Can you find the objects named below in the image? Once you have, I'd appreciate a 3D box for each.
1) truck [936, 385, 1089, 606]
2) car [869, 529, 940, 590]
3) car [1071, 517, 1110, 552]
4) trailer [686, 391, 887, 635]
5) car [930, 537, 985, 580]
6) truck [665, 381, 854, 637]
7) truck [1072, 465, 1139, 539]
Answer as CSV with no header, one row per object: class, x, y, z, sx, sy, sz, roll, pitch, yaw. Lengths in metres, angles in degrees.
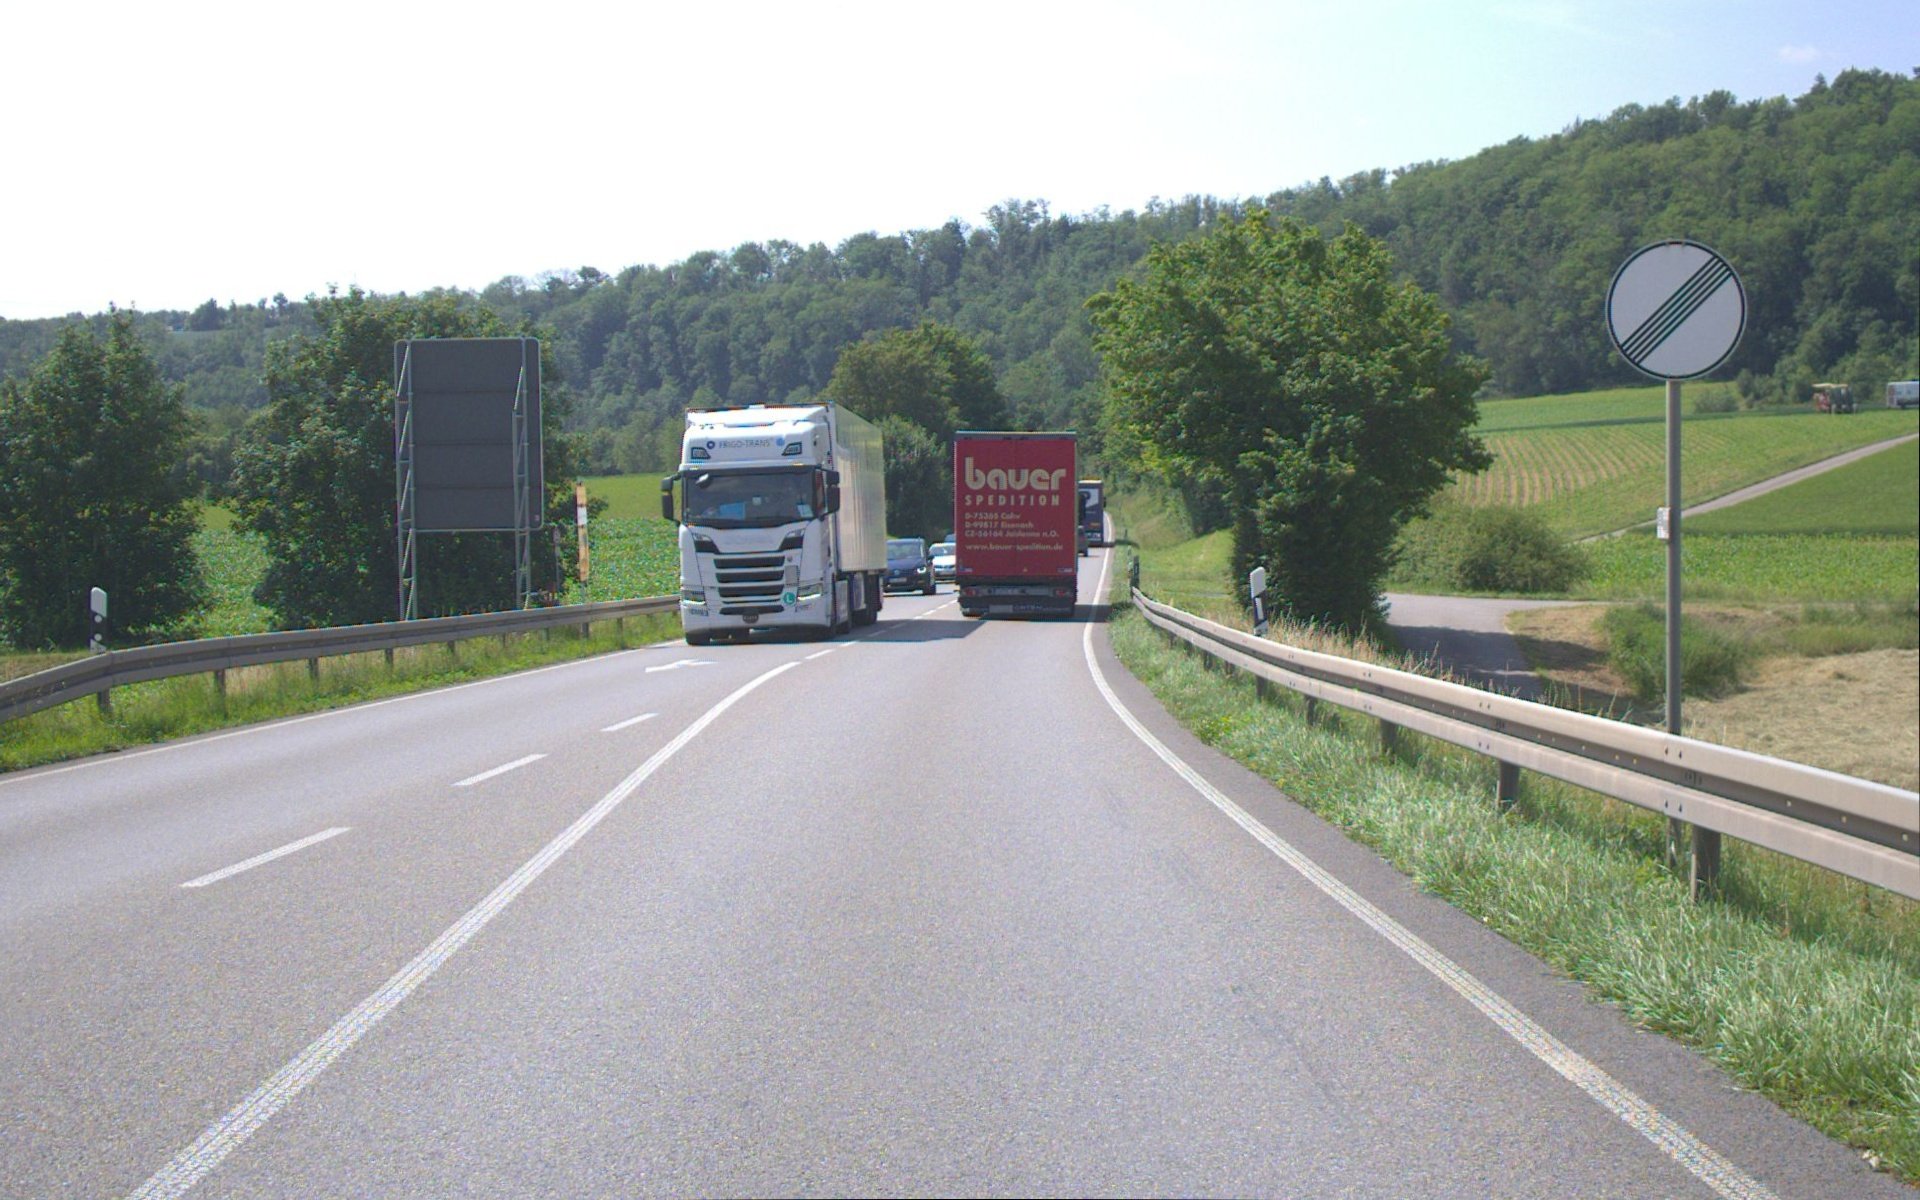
truck,1.149,-2.345,78.403,3.172,4.609,13.544,0,1,0
car,-1.641,-1.224,102.756,1.829,1.716,4.363,-3,1,2
car,7.037,-3.531,185.722,1.993,1.804,4.000,3,1,1
trailer,-3.130,-1.605,66.057,2.507,4.105,13.898,-2,1,2
car,-0.085,-1.521,124.263,1.731,1.429,3.915,-3,1,3
truck,-3.381,-1.528,59.364,2.530,4.105,6.021,-2,1,2
truck,9.078,-6.083,216.268,3.905,4.354,13.292,2,1,2
